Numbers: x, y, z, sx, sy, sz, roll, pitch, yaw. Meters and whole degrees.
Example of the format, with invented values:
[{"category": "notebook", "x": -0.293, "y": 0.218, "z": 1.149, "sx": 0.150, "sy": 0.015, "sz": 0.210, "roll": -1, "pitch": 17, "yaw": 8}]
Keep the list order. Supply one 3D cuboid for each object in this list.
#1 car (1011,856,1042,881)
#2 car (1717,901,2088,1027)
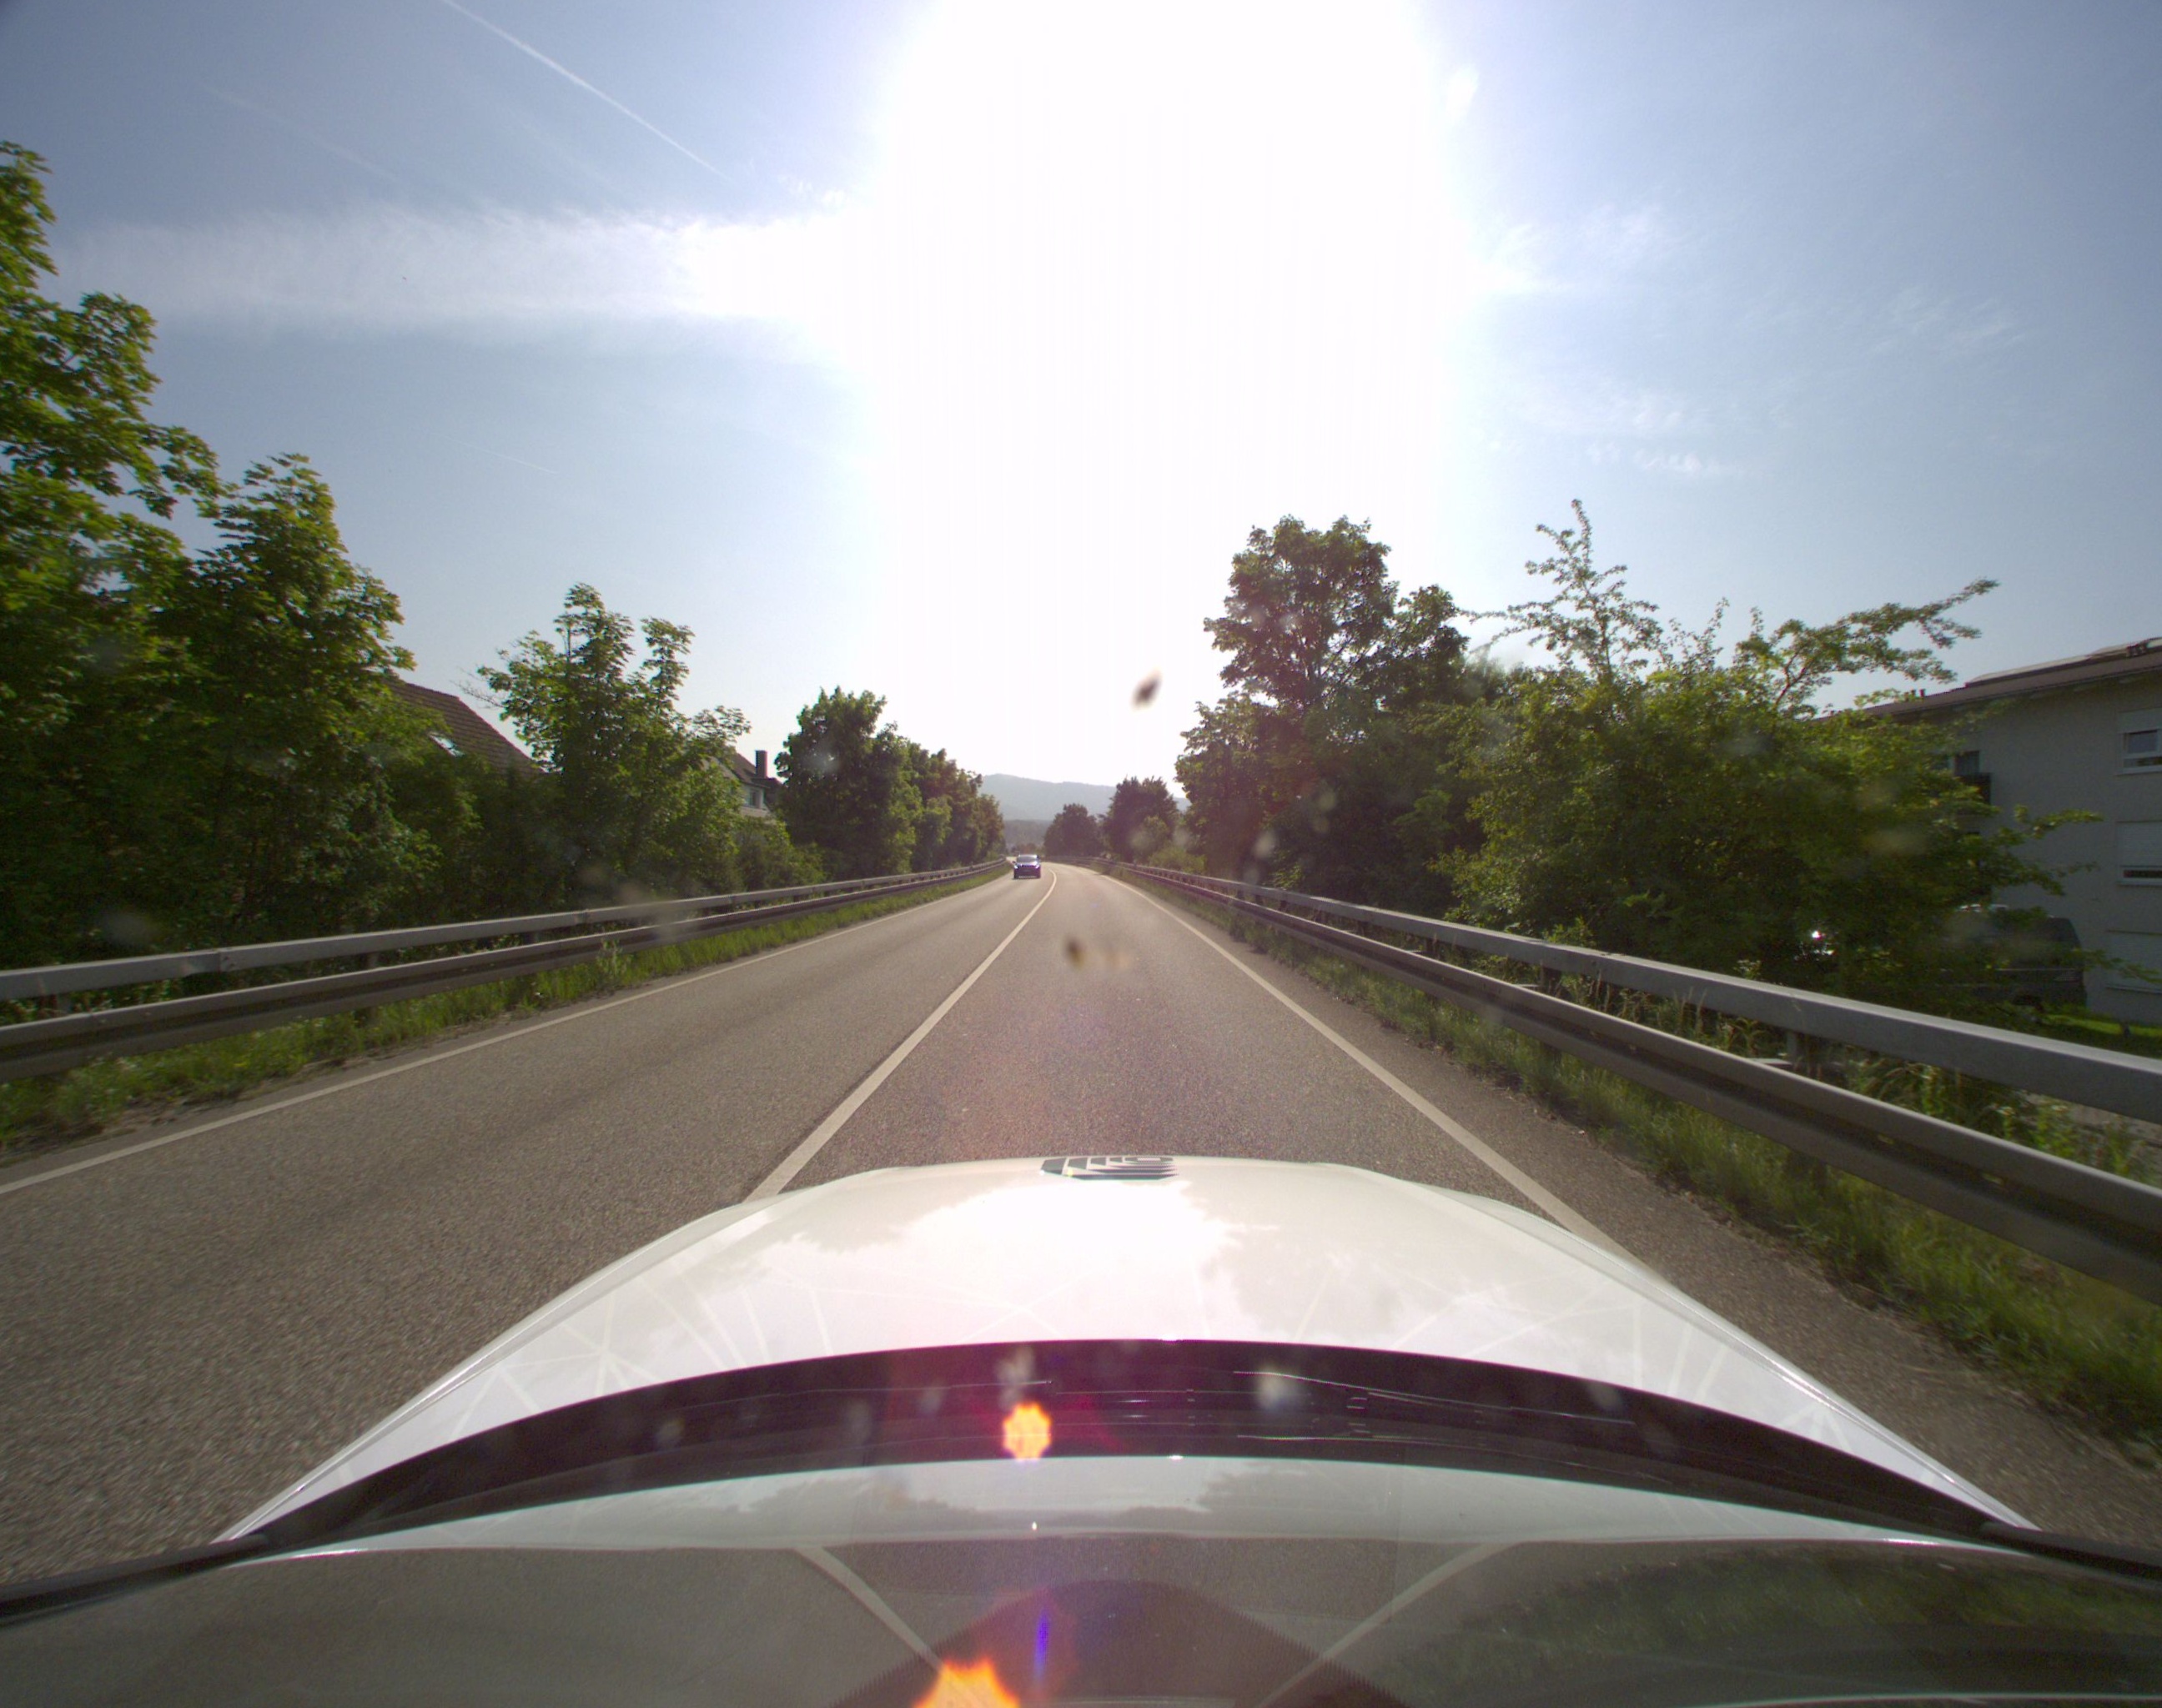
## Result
[{"category": "car", "x": -3.661, "y": 0.929, "z": 55.275, "sx": 1.802, "sy": 1.561, "sz": 3.991, "roll": -3, "pitch": 0, "yaw": -1}, {"category": "car", "x": 18.642, "y": 2.443, "z": 18.765, "sx": 6.051, "sy": 2.688, "sz": 2.313, "roll": 0, "pitch": -3, "yaw": 1}]
